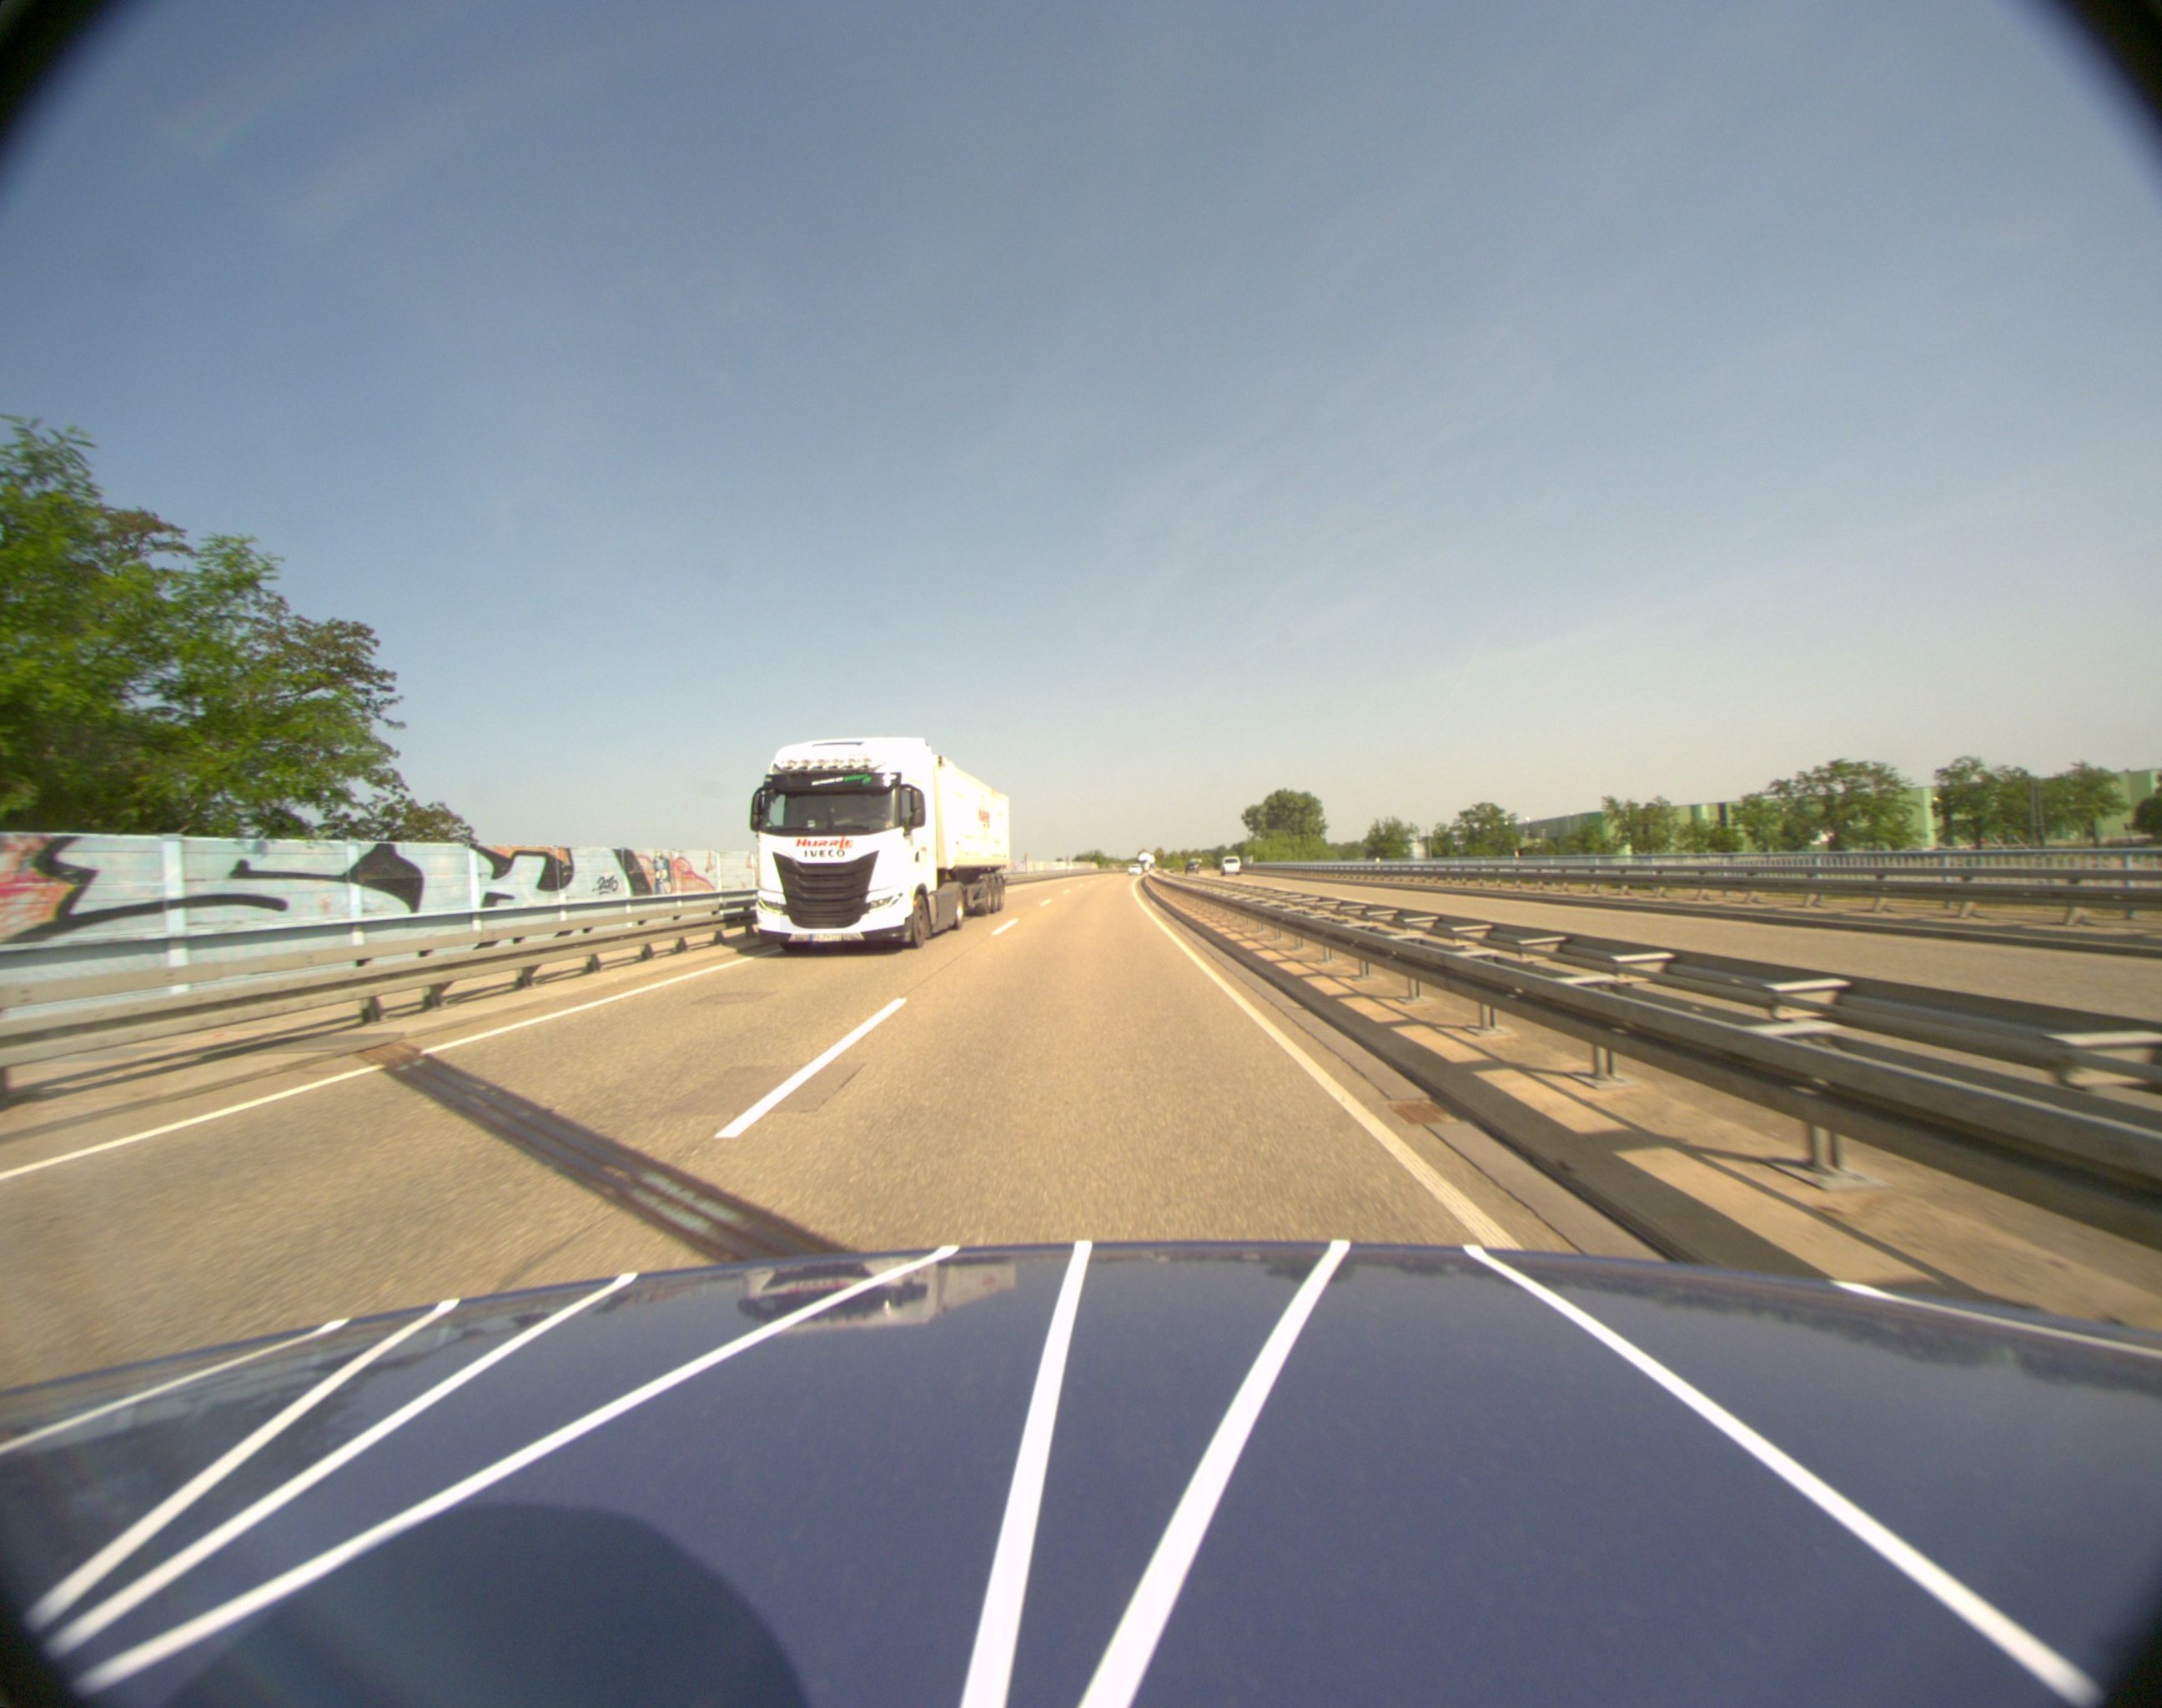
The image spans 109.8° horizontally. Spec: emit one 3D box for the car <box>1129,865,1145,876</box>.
[{"bbox_3d":[7.793,2.233,104.948,1.788,1.427,4.003,-2,-1,9],"label":"car"}]

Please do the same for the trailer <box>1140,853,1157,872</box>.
[{"bbox_3d":[14.747,1.792,165.057,2.761,3.967,8.194,-1,0,11],"label":"trailer"}]

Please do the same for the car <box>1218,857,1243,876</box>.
[{"bbox_3d":[16.231,1.348,82.696,2.043,1.994,5.310,-2,0,5],"label":"car"}]

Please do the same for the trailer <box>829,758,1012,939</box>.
[{"bbox_3d":[-3.912,-0.096,21.294,2.686,3.884,9.674,-1,0,2],"label":"trailer"}]

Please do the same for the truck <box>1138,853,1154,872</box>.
[{"bbox_3d":[13.641,1.834,159.694,2.776,3.938,5.633,-1,0,11],"label":"truck"}]

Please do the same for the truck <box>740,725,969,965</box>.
[{"bbox_3d":[-4.135,-0.126,15.294,2.665,3.873,5.649,-1,0,2],"label":"truck"}]

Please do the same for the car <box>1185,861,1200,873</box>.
[{"bbox_3d":[15.963,1.809,108.732,1.868,1.597,4.422,-2,-1,9],"label":"car"}]
